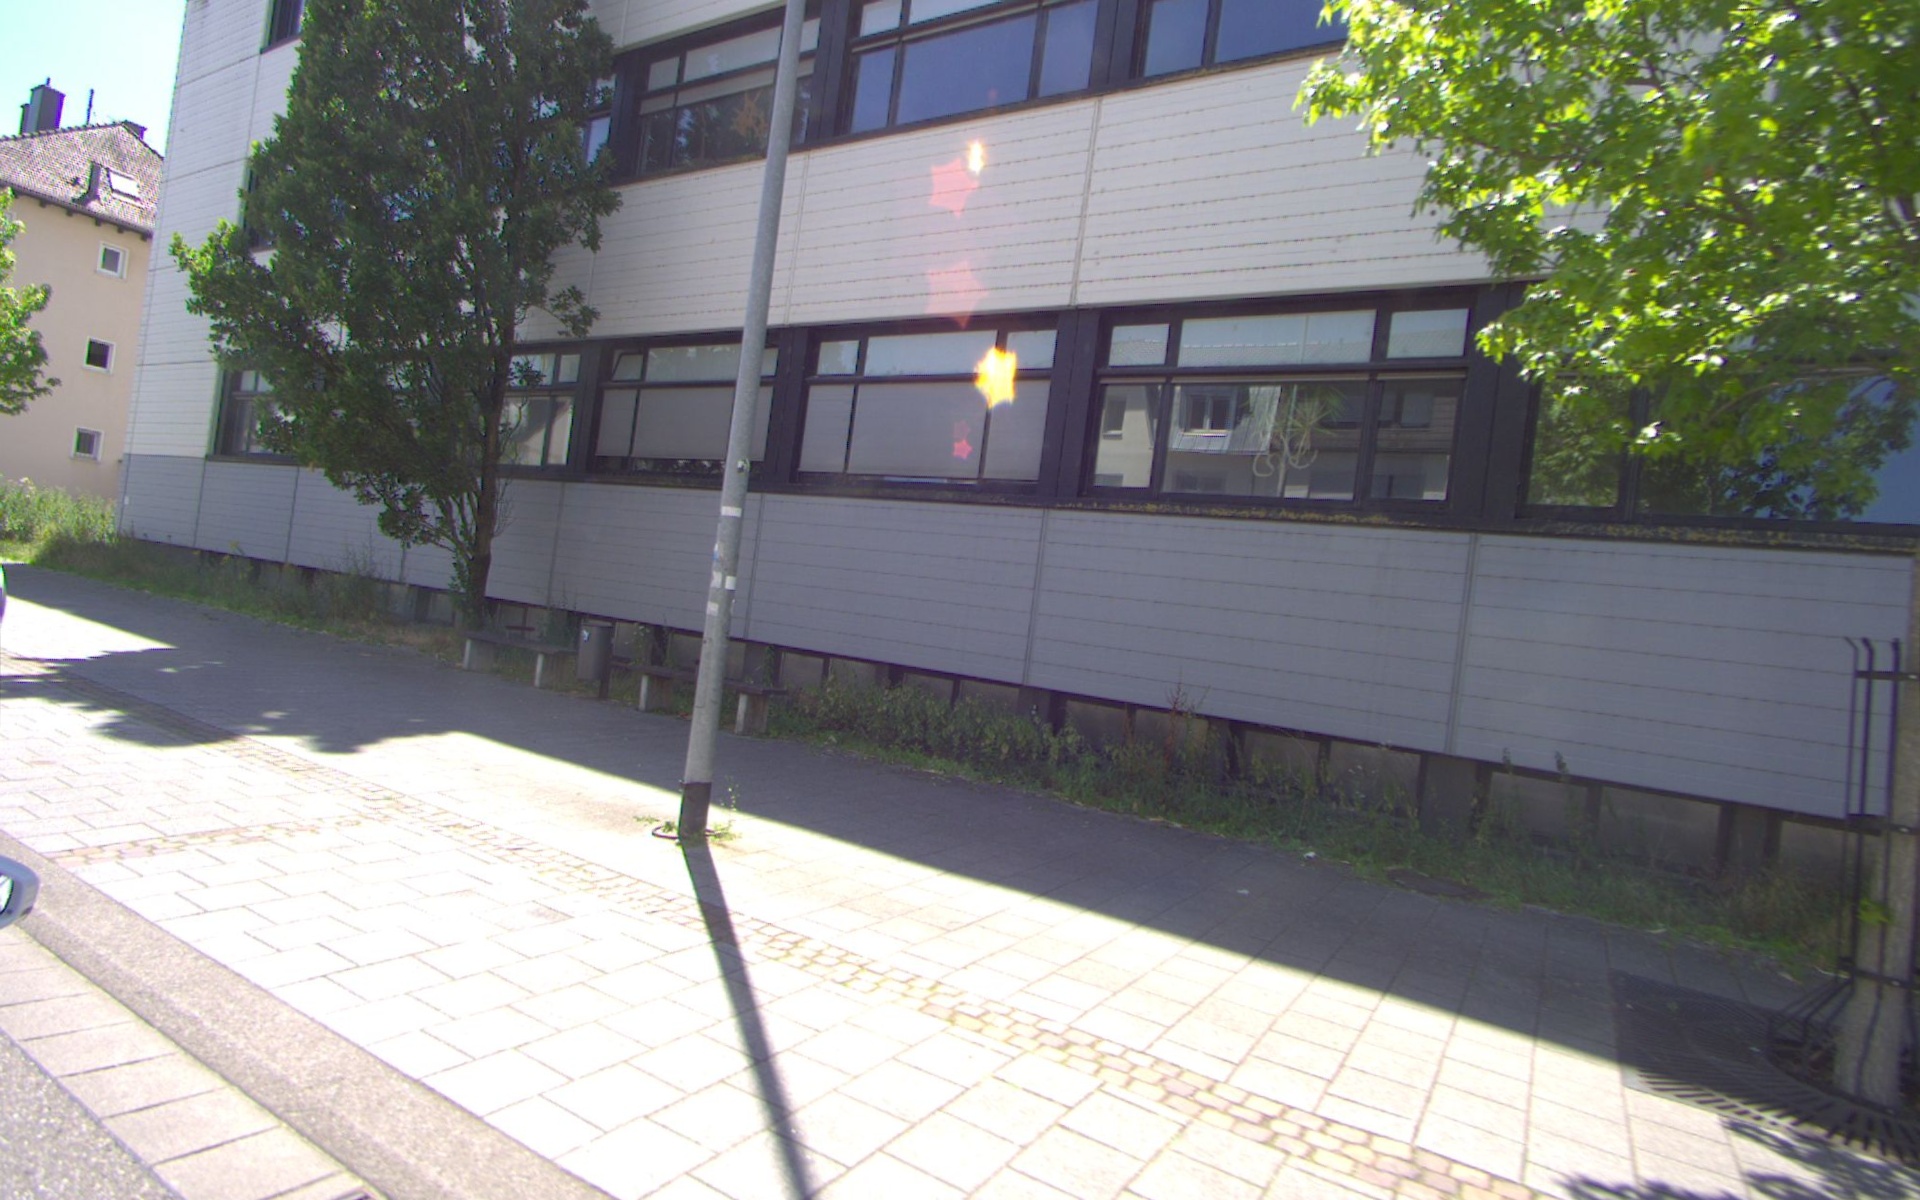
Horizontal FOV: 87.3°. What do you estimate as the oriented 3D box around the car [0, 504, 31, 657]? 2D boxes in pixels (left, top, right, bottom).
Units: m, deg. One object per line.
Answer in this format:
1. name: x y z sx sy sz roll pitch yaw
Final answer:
1. car: -10.815 -0.424 9.682 3.937 1.389 1.864 6 -1 35
